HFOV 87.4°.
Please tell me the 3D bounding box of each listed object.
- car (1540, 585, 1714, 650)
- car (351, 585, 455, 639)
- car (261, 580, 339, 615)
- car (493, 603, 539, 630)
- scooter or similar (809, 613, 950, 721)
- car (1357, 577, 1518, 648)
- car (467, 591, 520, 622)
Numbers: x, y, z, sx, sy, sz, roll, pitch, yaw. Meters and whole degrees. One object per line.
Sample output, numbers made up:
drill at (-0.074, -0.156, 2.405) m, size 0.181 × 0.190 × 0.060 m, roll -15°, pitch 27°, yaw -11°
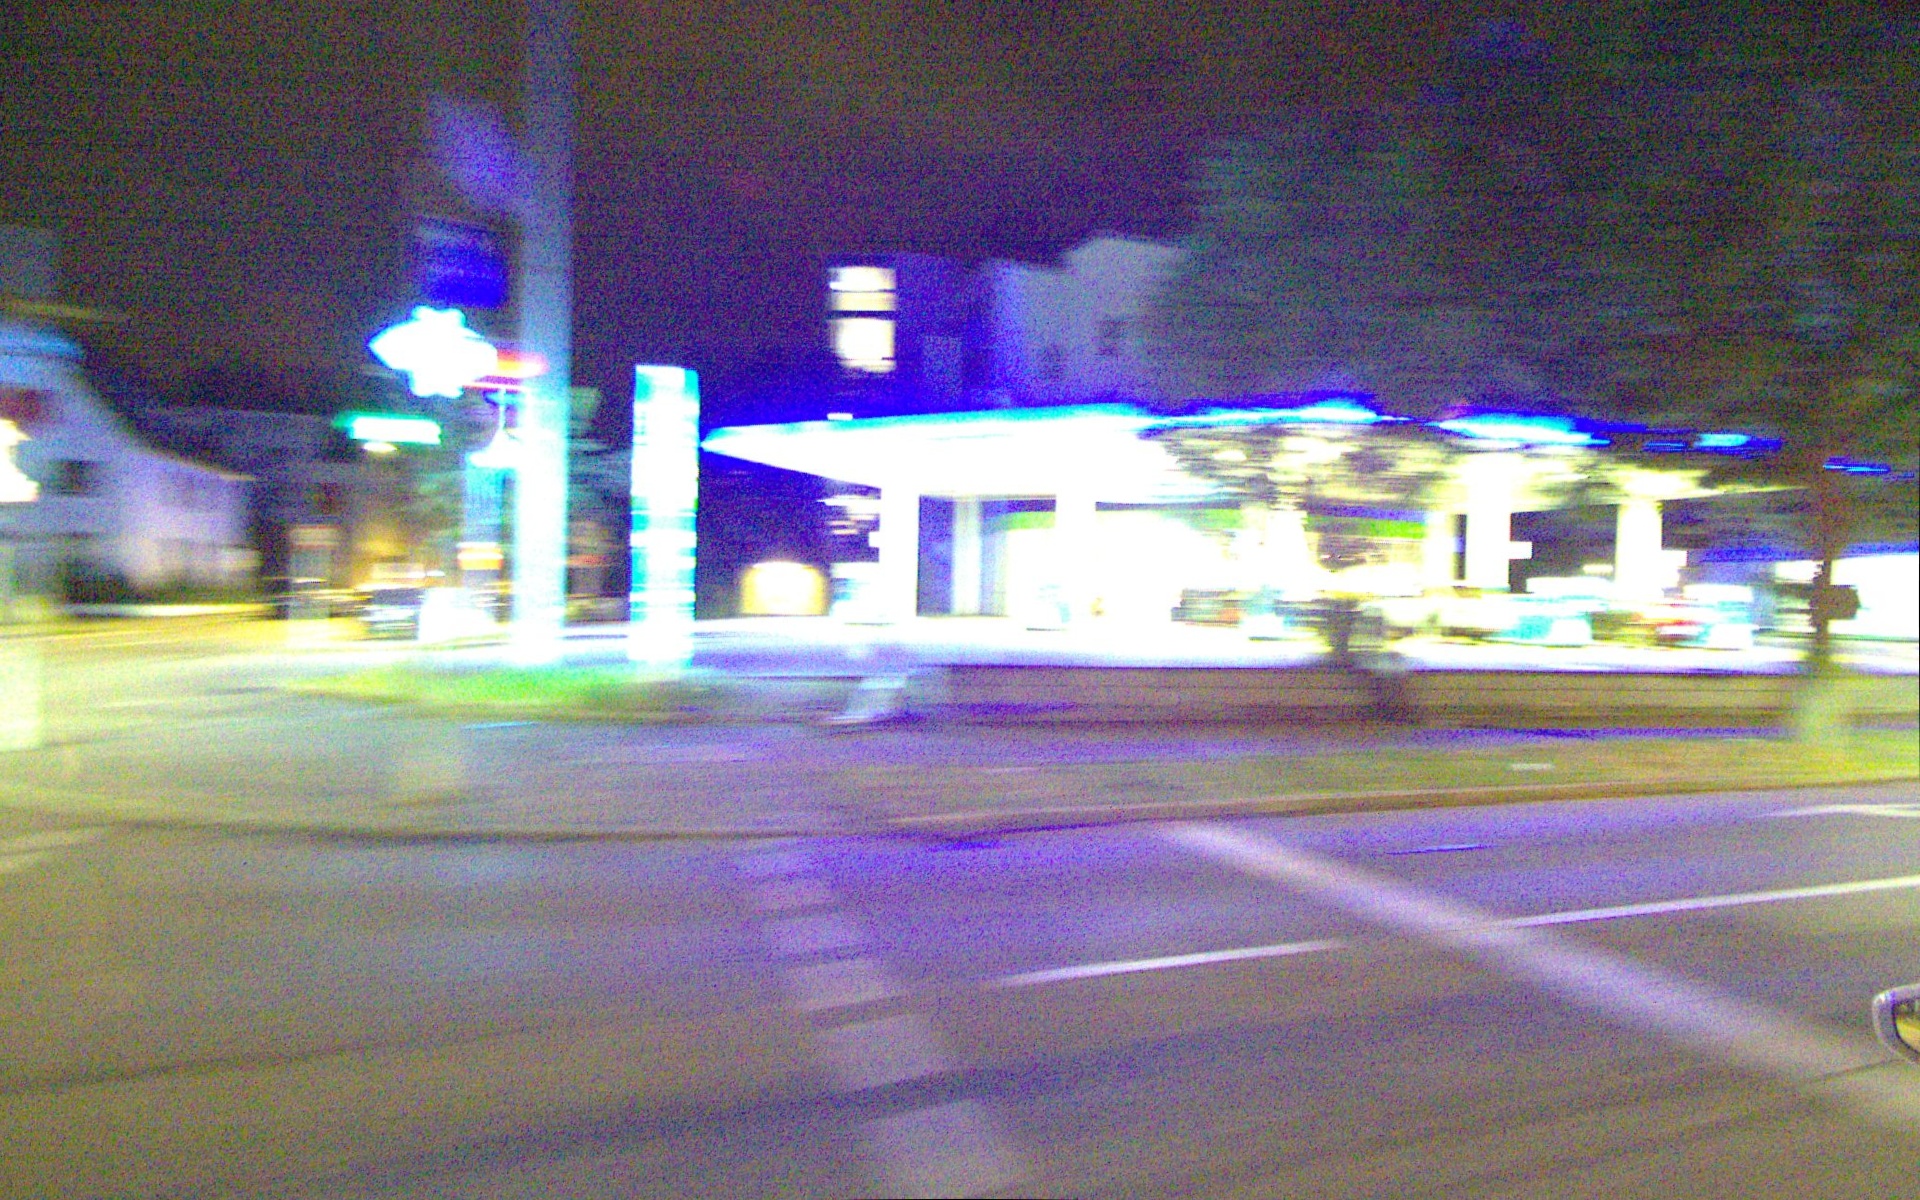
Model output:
car at (20.123, 0.481, 30.507) m, size 1.970 × 1.686 × 3.981 m, roll 1°, pitch 2°, yaw -20°
car at (-17.500, 0.370, 31.748) m, size 1.968 × 1.536 × 3.986 m, roll 2°, pitch 0°, yaw -16°
car at (-30.630, -0.078, 46.745) m, size 1.968 × 1.522 × 3.984 m, roll 2°, pitch -1°, yaw -18°
car at (-26.977, 1.006, 61.135) m, size 1.968 × 1.540 × 3.986 m, roll 2°, pitch -1°, yaw -16°
scooter or similar at (-0.888, 0.719, 11.479) m, size 0.705 × 1.106 × 1.675 m, roll 1°, pitch 1°, yaw 34°
car at (13.942, 0.314, 29.652) m, size 1.967 × 1.793 × 4.237 m, roll 2°, pitch 2°, yaw -15°
car at (-25.099, 0.363, 54.122) m, size 1.968 × 1.540 × 3.986 m, roll 2°, pitch -1°, yaw -16°
